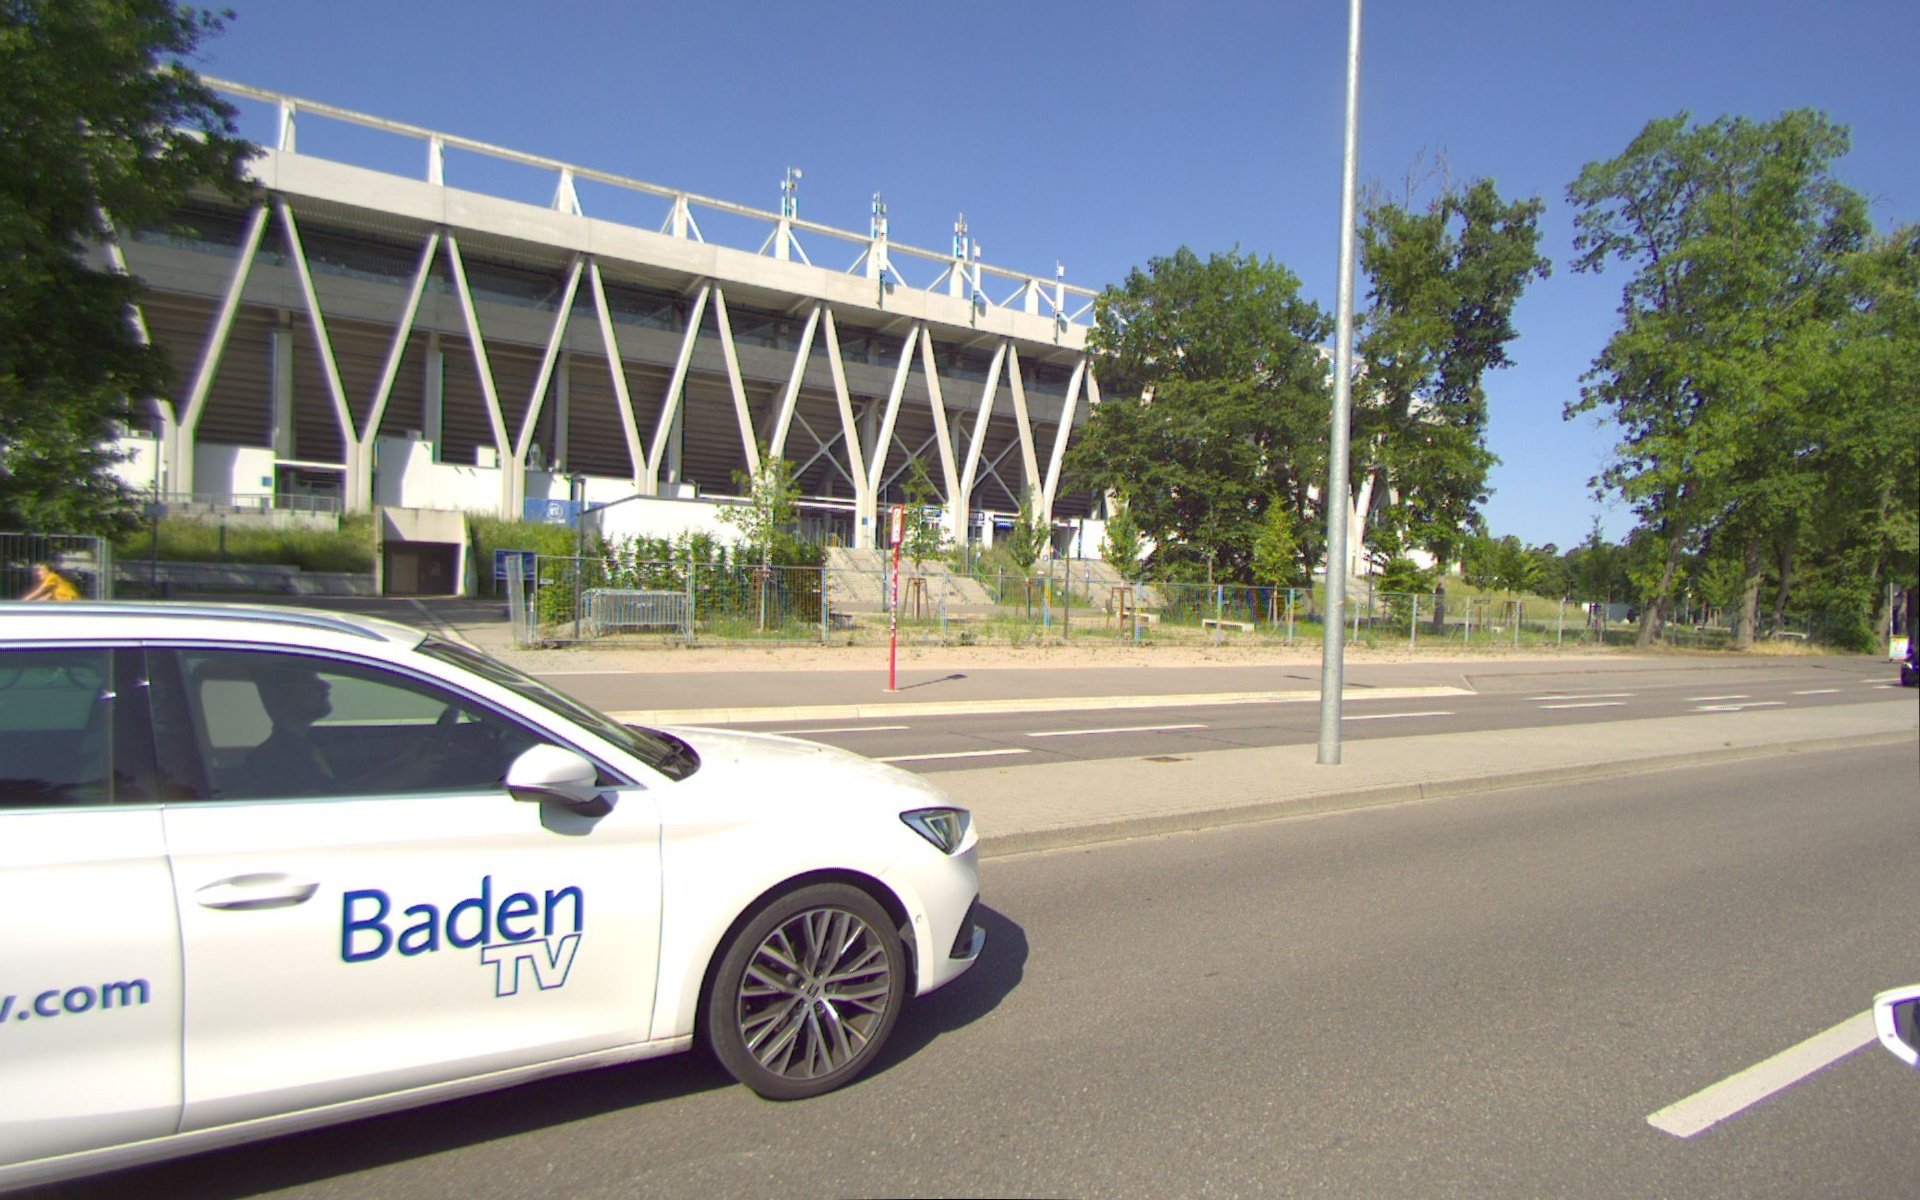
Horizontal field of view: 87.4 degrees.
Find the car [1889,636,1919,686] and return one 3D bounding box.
[{"bbox_3d":[28.894,1.752,29.166,4.115,1.406,1.801,2,-2,-32],"label":"car"}]

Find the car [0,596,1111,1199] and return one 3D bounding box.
[{"bbox_3d":[-1.908,0.730,3.033,4.665,1.446,1.716,1,-1,-31],"label":"car"}]

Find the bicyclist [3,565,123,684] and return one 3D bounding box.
[{"bbox_3d":[-11.699,0.307,13.141,1.045,1.487,0.656,1,2,-31],"label":"bicyclist"}]

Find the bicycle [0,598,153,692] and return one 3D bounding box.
[{"bbox_3d":[-11.792,0.574,13.112,1.857,1.151,0.656,1,2,-31],"label":"bicycle"}]
